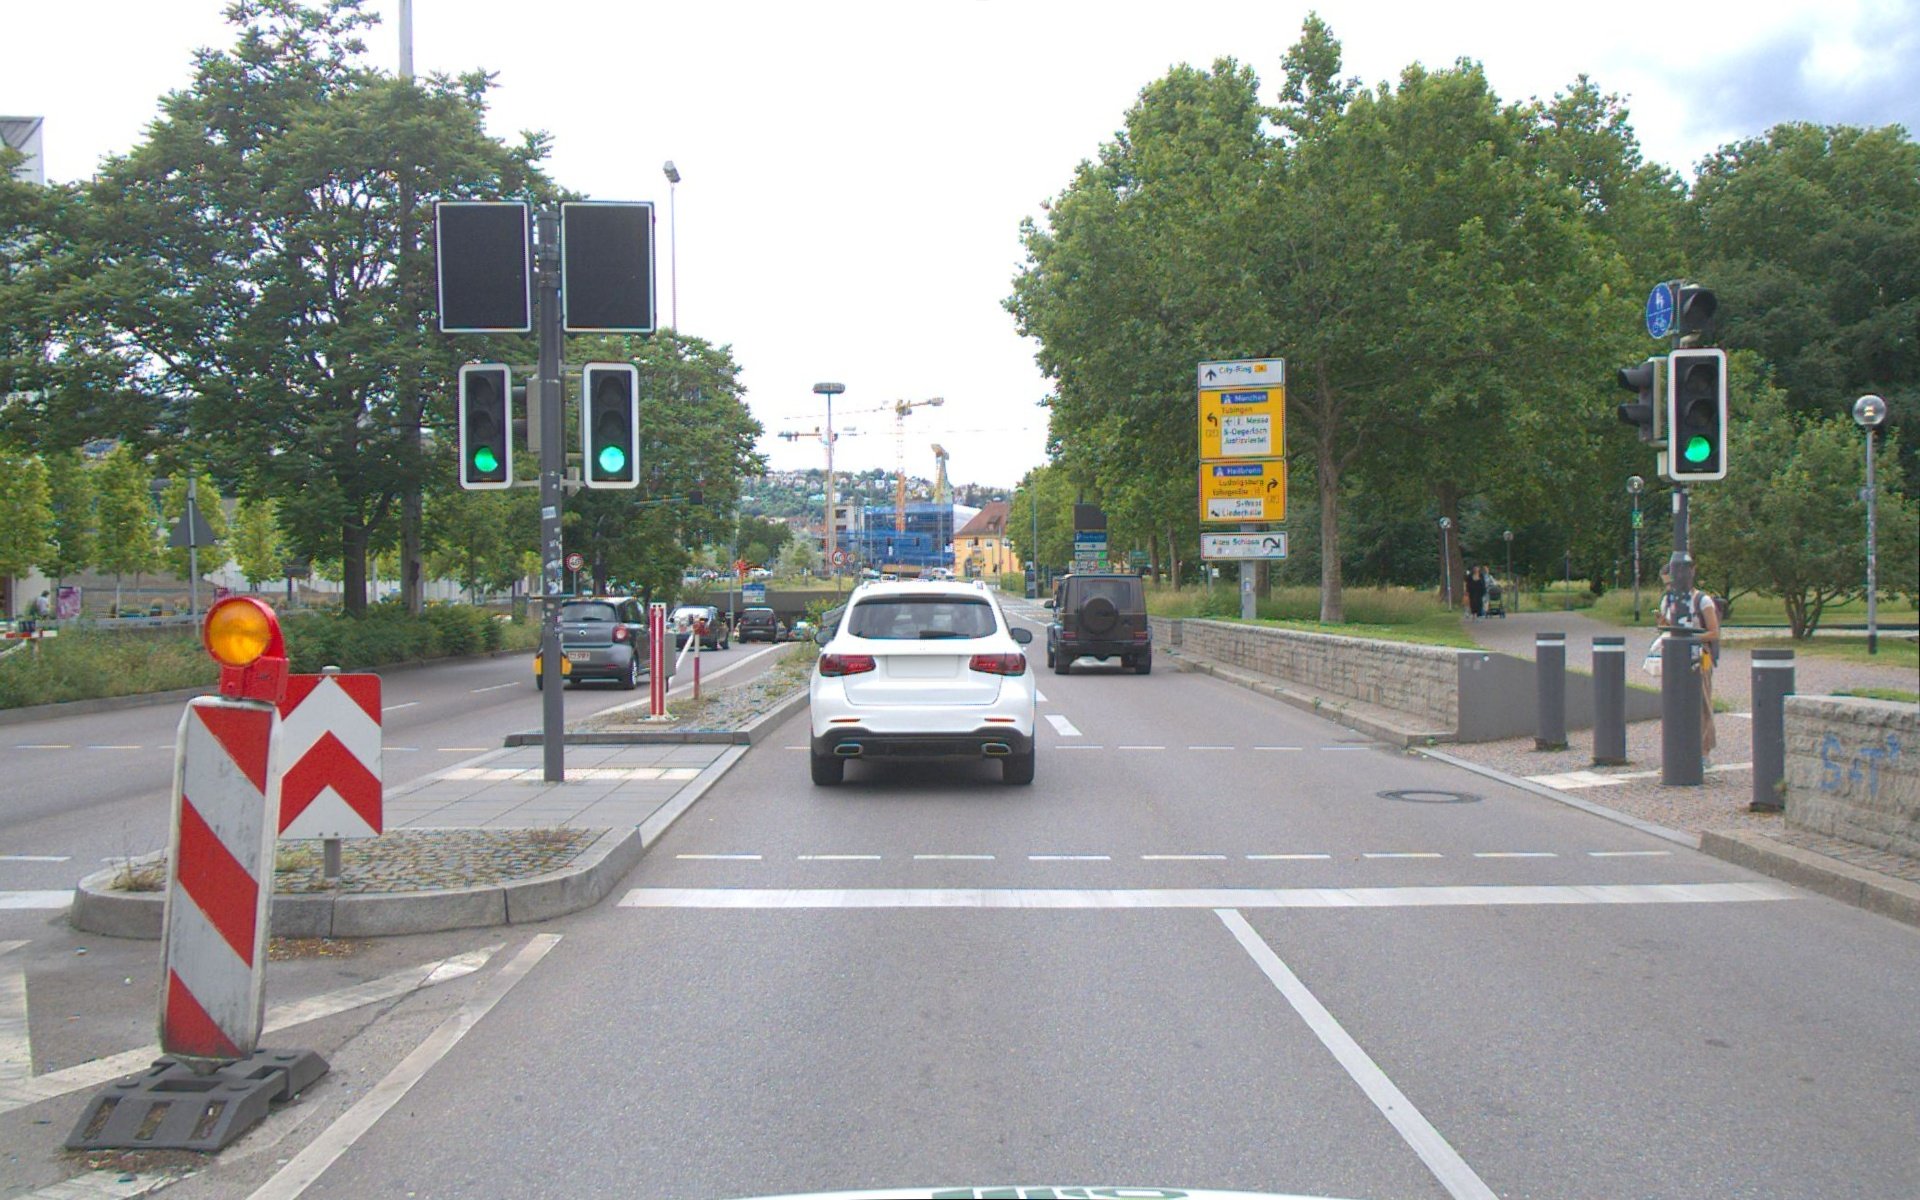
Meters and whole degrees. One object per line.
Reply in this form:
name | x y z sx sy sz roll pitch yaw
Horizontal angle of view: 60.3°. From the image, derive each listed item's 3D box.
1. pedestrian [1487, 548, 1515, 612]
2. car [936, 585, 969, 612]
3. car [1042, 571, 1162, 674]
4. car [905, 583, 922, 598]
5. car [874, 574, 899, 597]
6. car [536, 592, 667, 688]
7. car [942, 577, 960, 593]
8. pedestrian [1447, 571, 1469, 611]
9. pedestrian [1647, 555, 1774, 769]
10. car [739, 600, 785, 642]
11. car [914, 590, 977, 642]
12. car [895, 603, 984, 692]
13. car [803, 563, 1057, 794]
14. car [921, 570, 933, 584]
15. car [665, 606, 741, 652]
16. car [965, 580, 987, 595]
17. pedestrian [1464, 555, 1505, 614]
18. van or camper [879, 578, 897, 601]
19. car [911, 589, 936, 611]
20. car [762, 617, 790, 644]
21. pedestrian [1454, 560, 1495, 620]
pedestrian | 17.413 -0.632 53.235 0.559 2.049 0.932 2 -1 -2
car | -0.506 -0.083 110.472 1.954 1.691 3.997 2 -1 -3
car | 2.840 0.456 34.089 1.937 1.926 4.705 2 -1 -1
car | -5.274 -1.114 186.590 1.685 1.612 3.997 2 0 -4
car | -6.232 -1.214 140.708 1.953 1.787 3.999 2 -1 -1
car | -6.100 0.667 28.483 1.595 1.535 3.538 1 -1 -3
car | -0.981 -1.639 182.658 1.685 1.612 3.997 2 0 -4
pedestrian | 16.766 -0.300 55.687 0.570 1.348 0.541 2 -2 -2
pedestrian | 6.108 0.496 13.483 0.684 1.685 0.683 2 -1 -3
car | -8.471 0.880 70.989 1.685 1.708 3.997 2 0 -4
car | -0.522 0.500 54.399 1.884 1.630 3.998 0 0 -3
car | -0.450 0.935 33.423 1.638 1.656 3.998 2 -1 -2
car | -0.332 0.623 14.625 1.902 1.713 3.997 2 -1 -3
car | -5.070 -3.473 253.239 1.764 2.049 3.997 2 -1 -3
car | -8.099 0.891 52.480 1.683 1.315 4.000 2 0 1
car | 1.832 -1.434 188.402 1.956 1.646 3.994 2 -1 -7
pedestrian | 17.269 -0.499 54.448 0.976 1.868 1.029 2 -1 -1
van or camper | -7.847 -1.156 180.087 1.884 2.360 3.997 0 -2 -3
car | -3.169 0.044 143.572 1.954 1.812 3.997 2 -1 -3
car | -11.773 1.953 105.962 1.686 1.612 3.995 2 0 -6
pedestrian | 15.335 -0.299 49.323 0.878 1.763 0.968 2 0 -2
